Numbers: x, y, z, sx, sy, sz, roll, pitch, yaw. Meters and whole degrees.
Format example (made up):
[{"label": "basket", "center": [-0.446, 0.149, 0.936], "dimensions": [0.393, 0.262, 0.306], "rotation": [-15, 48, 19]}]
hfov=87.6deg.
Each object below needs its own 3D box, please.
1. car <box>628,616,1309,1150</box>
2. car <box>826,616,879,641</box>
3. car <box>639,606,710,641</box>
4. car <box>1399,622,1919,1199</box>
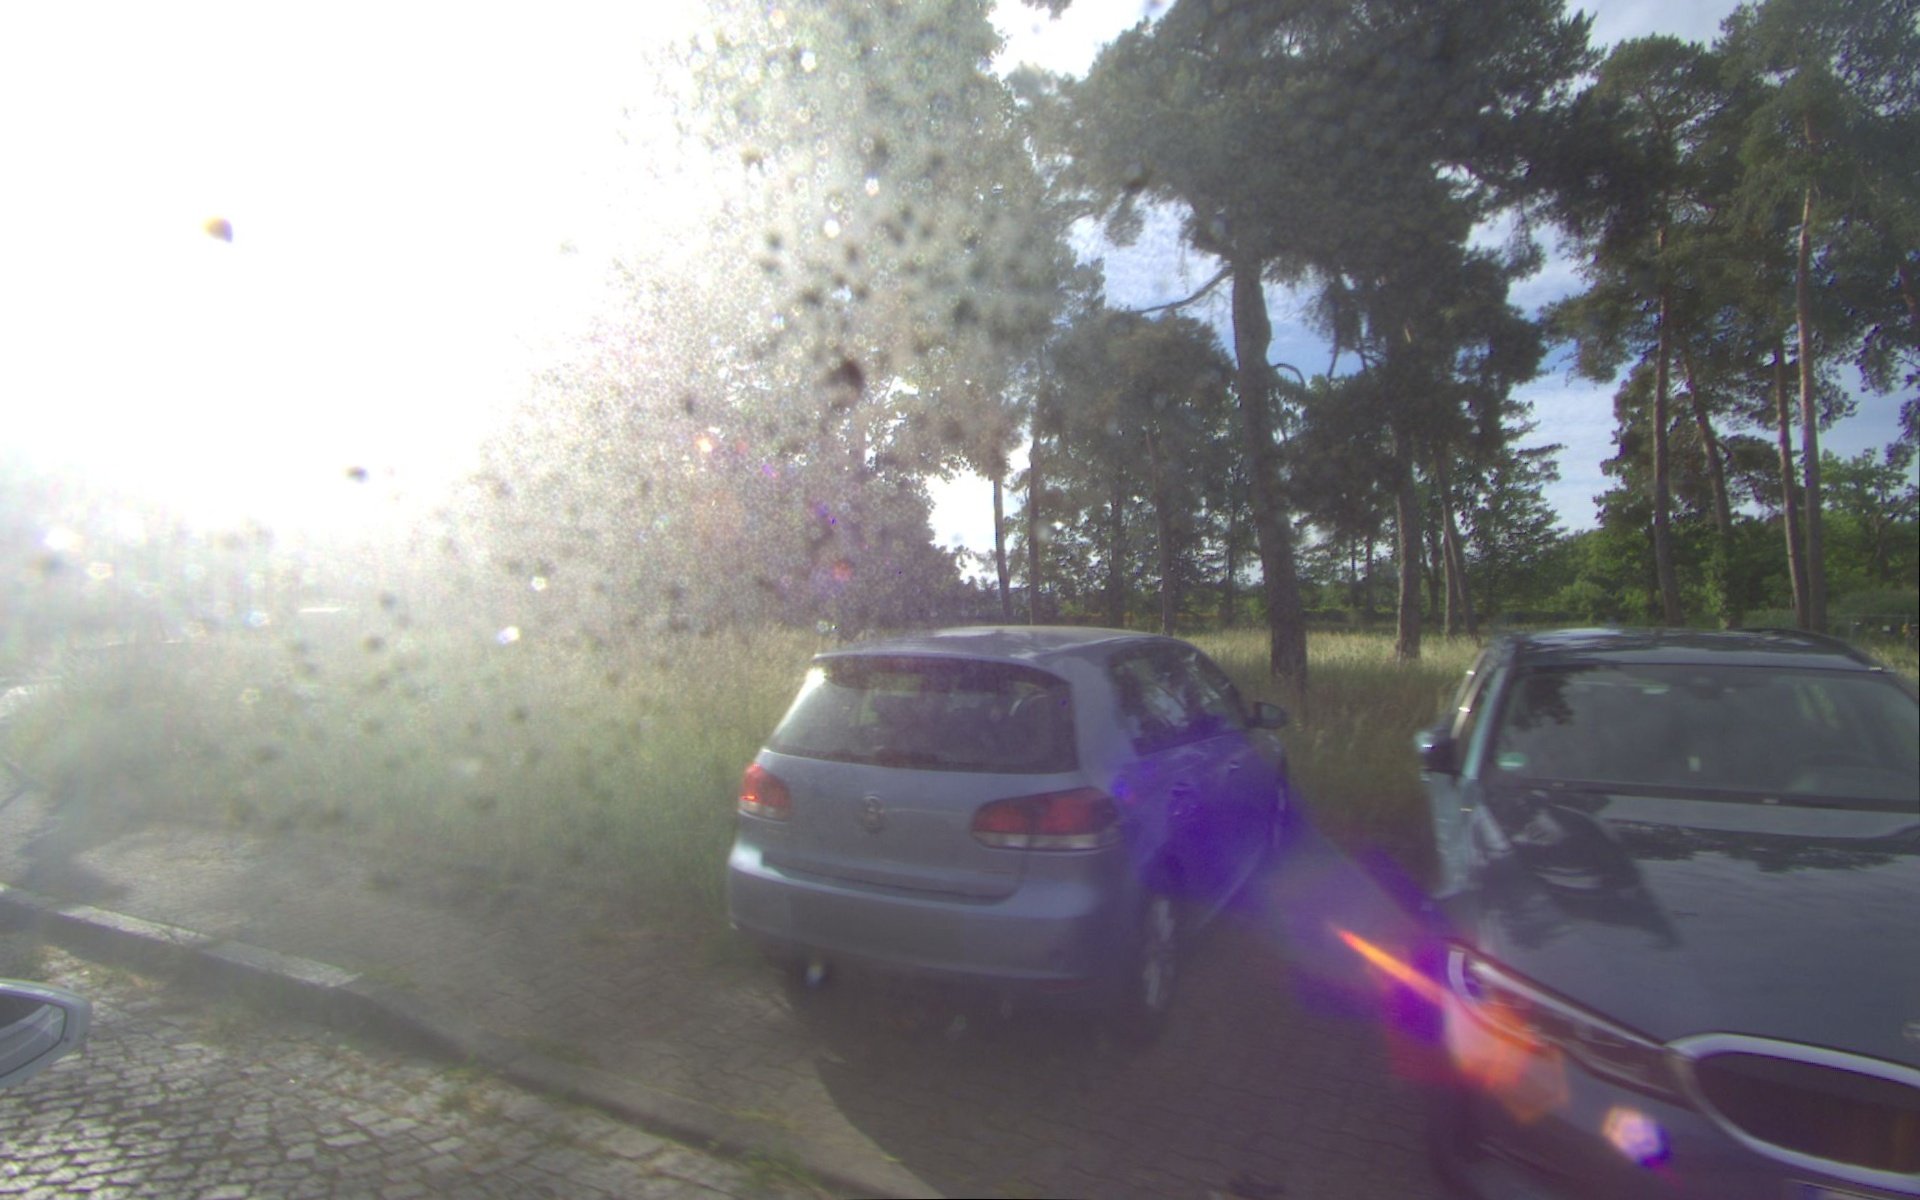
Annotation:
[{"label": "car", "center": [0.598, 0.869, 5.378], "dimensions": [1.902, 1.525, 4.543], "rotation": [-1, -1, 26]}, {"label": "car", "center": [-7.354, 1.961, 68.778], "dimensions": [1.827, 1.701, 3.932], "rotation": [-1, -2, 26]}, {"label": "car", "center": [-21.563, 1.794, 75.823], "dimensions": [2.230, 2.568, 5.154], "rotation": [-1, -1, 29]}, {"label": "car", "center": [2.714, 0.864, 3.848], "dimensions": [1.864, 1.493, 4.508], "rotation": [-1, -1, 24]}]
